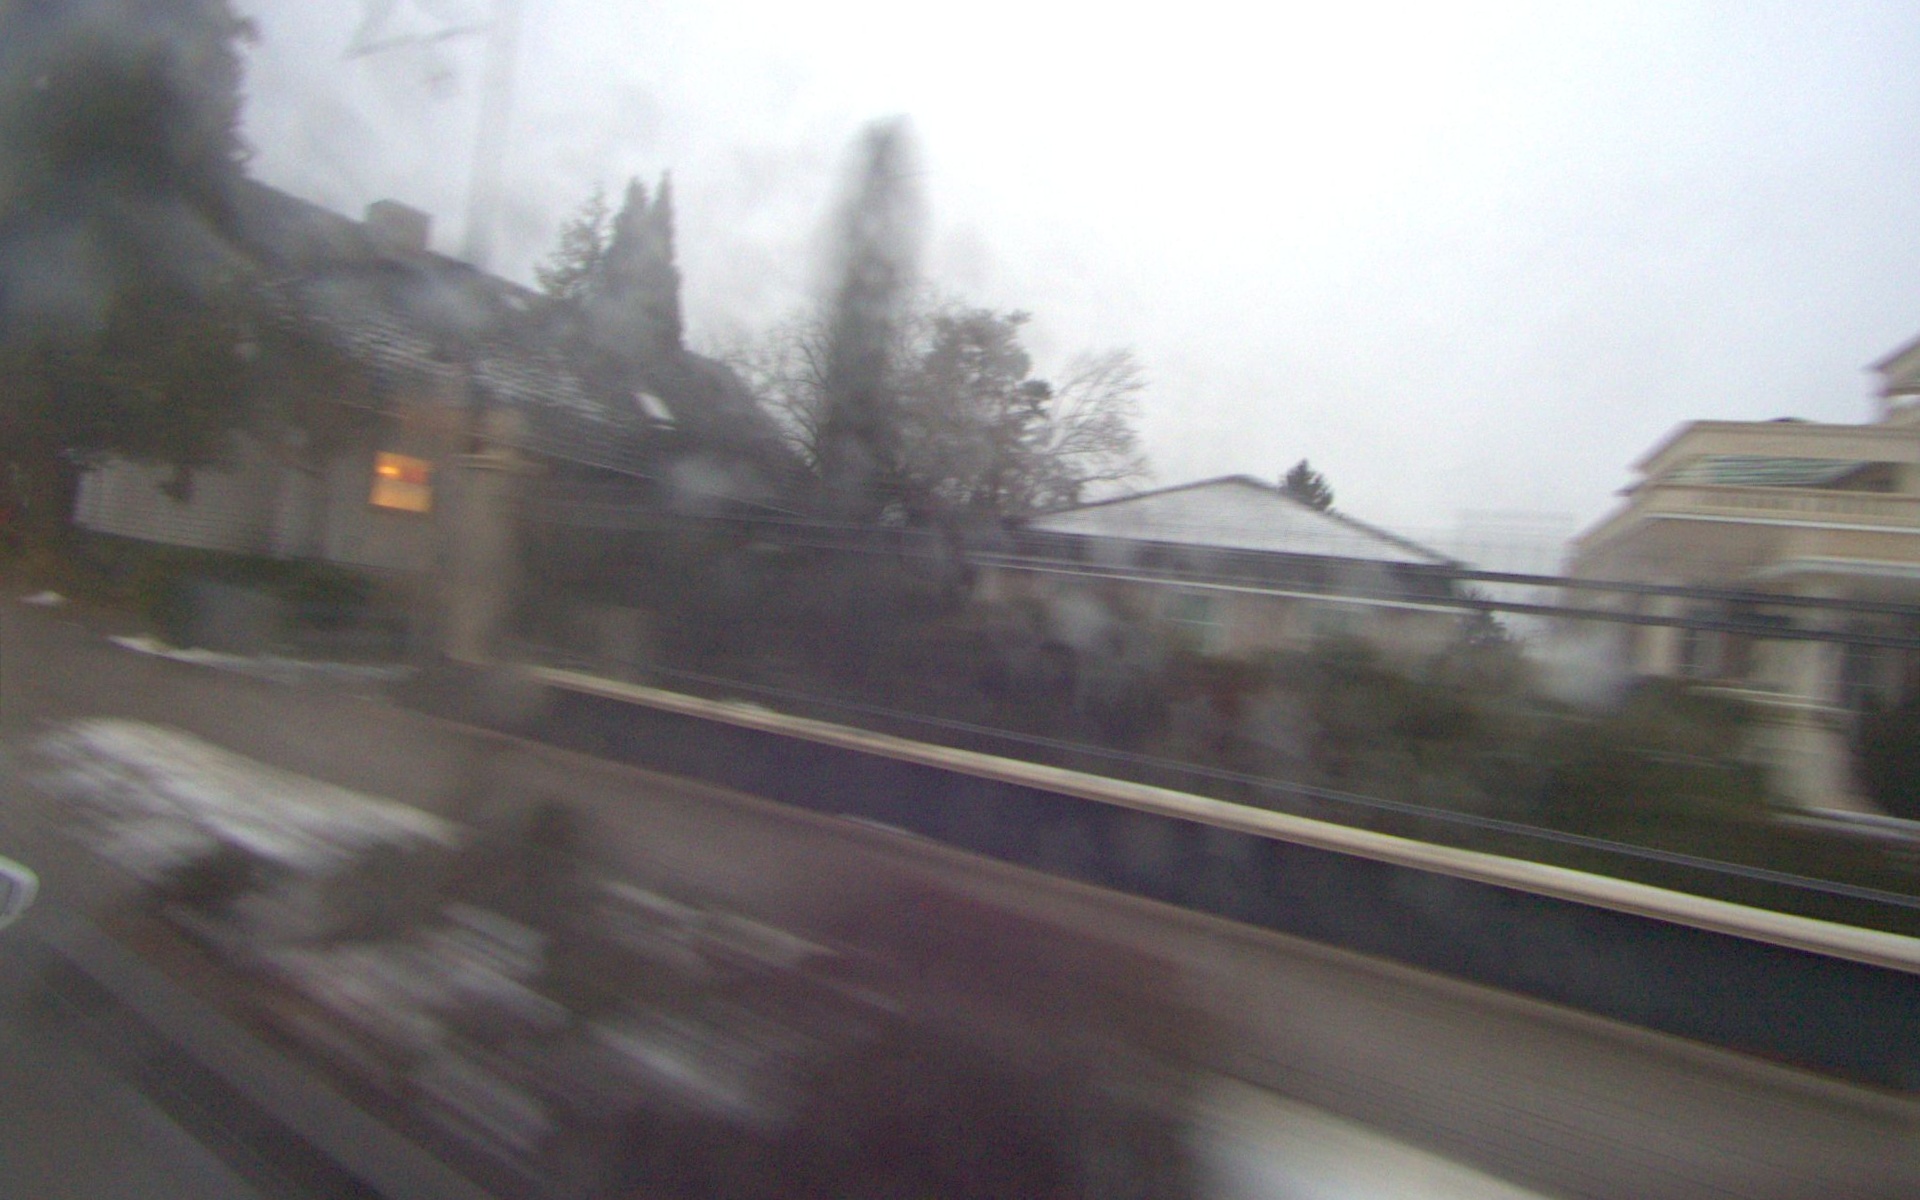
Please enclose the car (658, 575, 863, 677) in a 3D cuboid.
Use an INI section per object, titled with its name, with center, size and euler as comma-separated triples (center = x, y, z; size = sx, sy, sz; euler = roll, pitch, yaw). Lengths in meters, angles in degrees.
[car]
center = -3.937, 0.593, 20.535
size = 1.862, 1.664, 3.997
euler = 5, -2, 28
